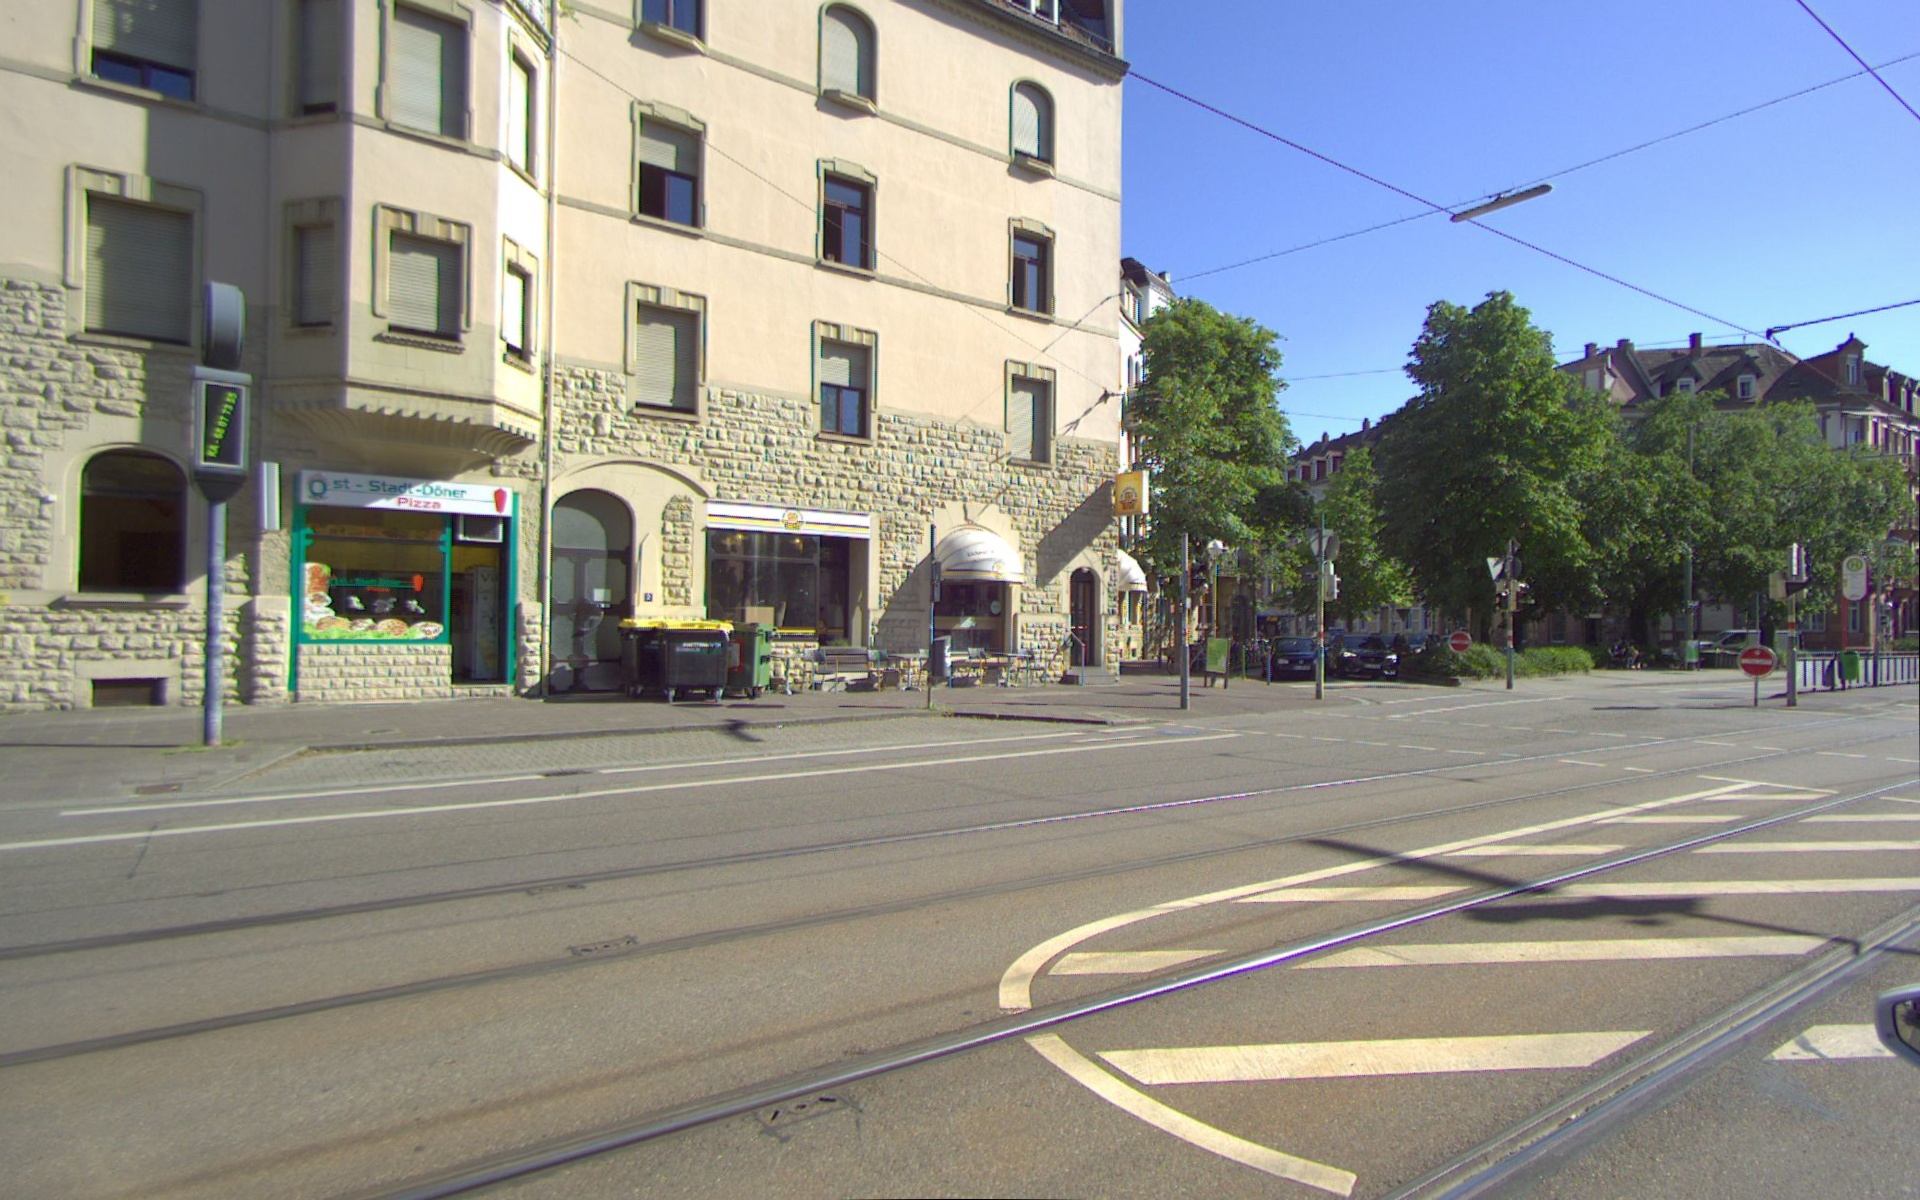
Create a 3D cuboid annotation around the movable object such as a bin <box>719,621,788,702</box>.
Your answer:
[{"bbox_3d":[-3.782,1.112,18.468,0.840,1.399,1.028,2,-1,12],"label":"movable object such as a bin"}]

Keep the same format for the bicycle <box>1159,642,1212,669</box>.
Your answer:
[{"bbox_3d":[9.042,2.211,40.328,1.997,0.993,0.611,2,-1,5],"label":"bicycle"}]

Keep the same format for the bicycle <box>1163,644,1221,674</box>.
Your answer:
[{"bbox_3d":[8.526,2.173,36.919,1.997,0.993,0.611,2,-1,5],"label":"bicycle"}]

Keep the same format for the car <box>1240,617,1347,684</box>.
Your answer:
[{"bbox_3d":[11.032,1.613,33.510,1.962,2.040,3.998,2,-1,-4],"label":"car"}]

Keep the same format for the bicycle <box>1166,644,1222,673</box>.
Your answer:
[{"bbox_3d":[8.911,2.218,38.324,1.997,0.993,0.611,2,-1,5],"label":"bicycle"}]

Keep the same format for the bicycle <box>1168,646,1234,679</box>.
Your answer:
[{"bbox_3d":[7.828,2.036,32.738,1.997,0.993,0.611,2,-1,5],"label":"bicycle"}]

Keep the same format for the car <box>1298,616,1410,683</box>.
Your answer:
[{"bbox_3d":[13.252,1.620,34.042,1.962,2.040,3.998,2,-1,-4],"label":"car"}]

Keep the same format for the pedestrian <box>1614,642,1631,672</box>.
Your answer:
[{"bbox_3d":[26.857,2.311,40.710,0.569,1.217,0.606,-1,-2,34],"label":"pedestrian"}]

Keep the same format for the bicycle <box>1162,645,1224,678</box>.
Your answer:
[{"bbox_3d":[7.945,2.096,34.318,1.997,0.993,0.611,2,-1,5],"label":"bicycle"}]

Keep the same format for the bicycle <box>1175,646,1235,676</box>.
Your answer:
[{"bbox_3d":[8.734,2.176,35.907,1.997,0.993,0.611,2,-1,5],"label":"bicycle"}]

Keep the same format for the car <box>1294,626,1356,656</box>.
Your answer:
[{"bbox_3d":[27.499,3.054,75.819,1.968,2.040,4.572,2,-1,-18],"label":"car"}]

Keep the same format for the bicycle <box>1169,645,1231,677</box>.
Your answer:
[{"bbox_3d":[8.377,2.125,35.084,1.997,0.993,0.611,2,-1,5],"label":"bicycle"}]

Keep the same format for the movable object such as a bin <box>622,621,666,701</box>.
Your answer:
[{"bbox_3d":[-5.556,1.057,17.636,0.647,1.343,0.853,2,-1,-21],"label":"movable object such as a bin"}]

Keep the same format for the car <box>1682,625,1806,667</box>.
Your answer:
[{"bbox_3d":[42.910,2.512,55.099,4.928,2.040,2.001,2,-1,15],"label":"car"}]

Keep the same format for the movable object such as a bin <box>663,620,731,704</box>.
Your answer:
[{"bbox_3d":[-4.577,1.060,17.439,1.012,1.399,0.853,2,-1,-21],"label":"movable object such as a bin"}]
